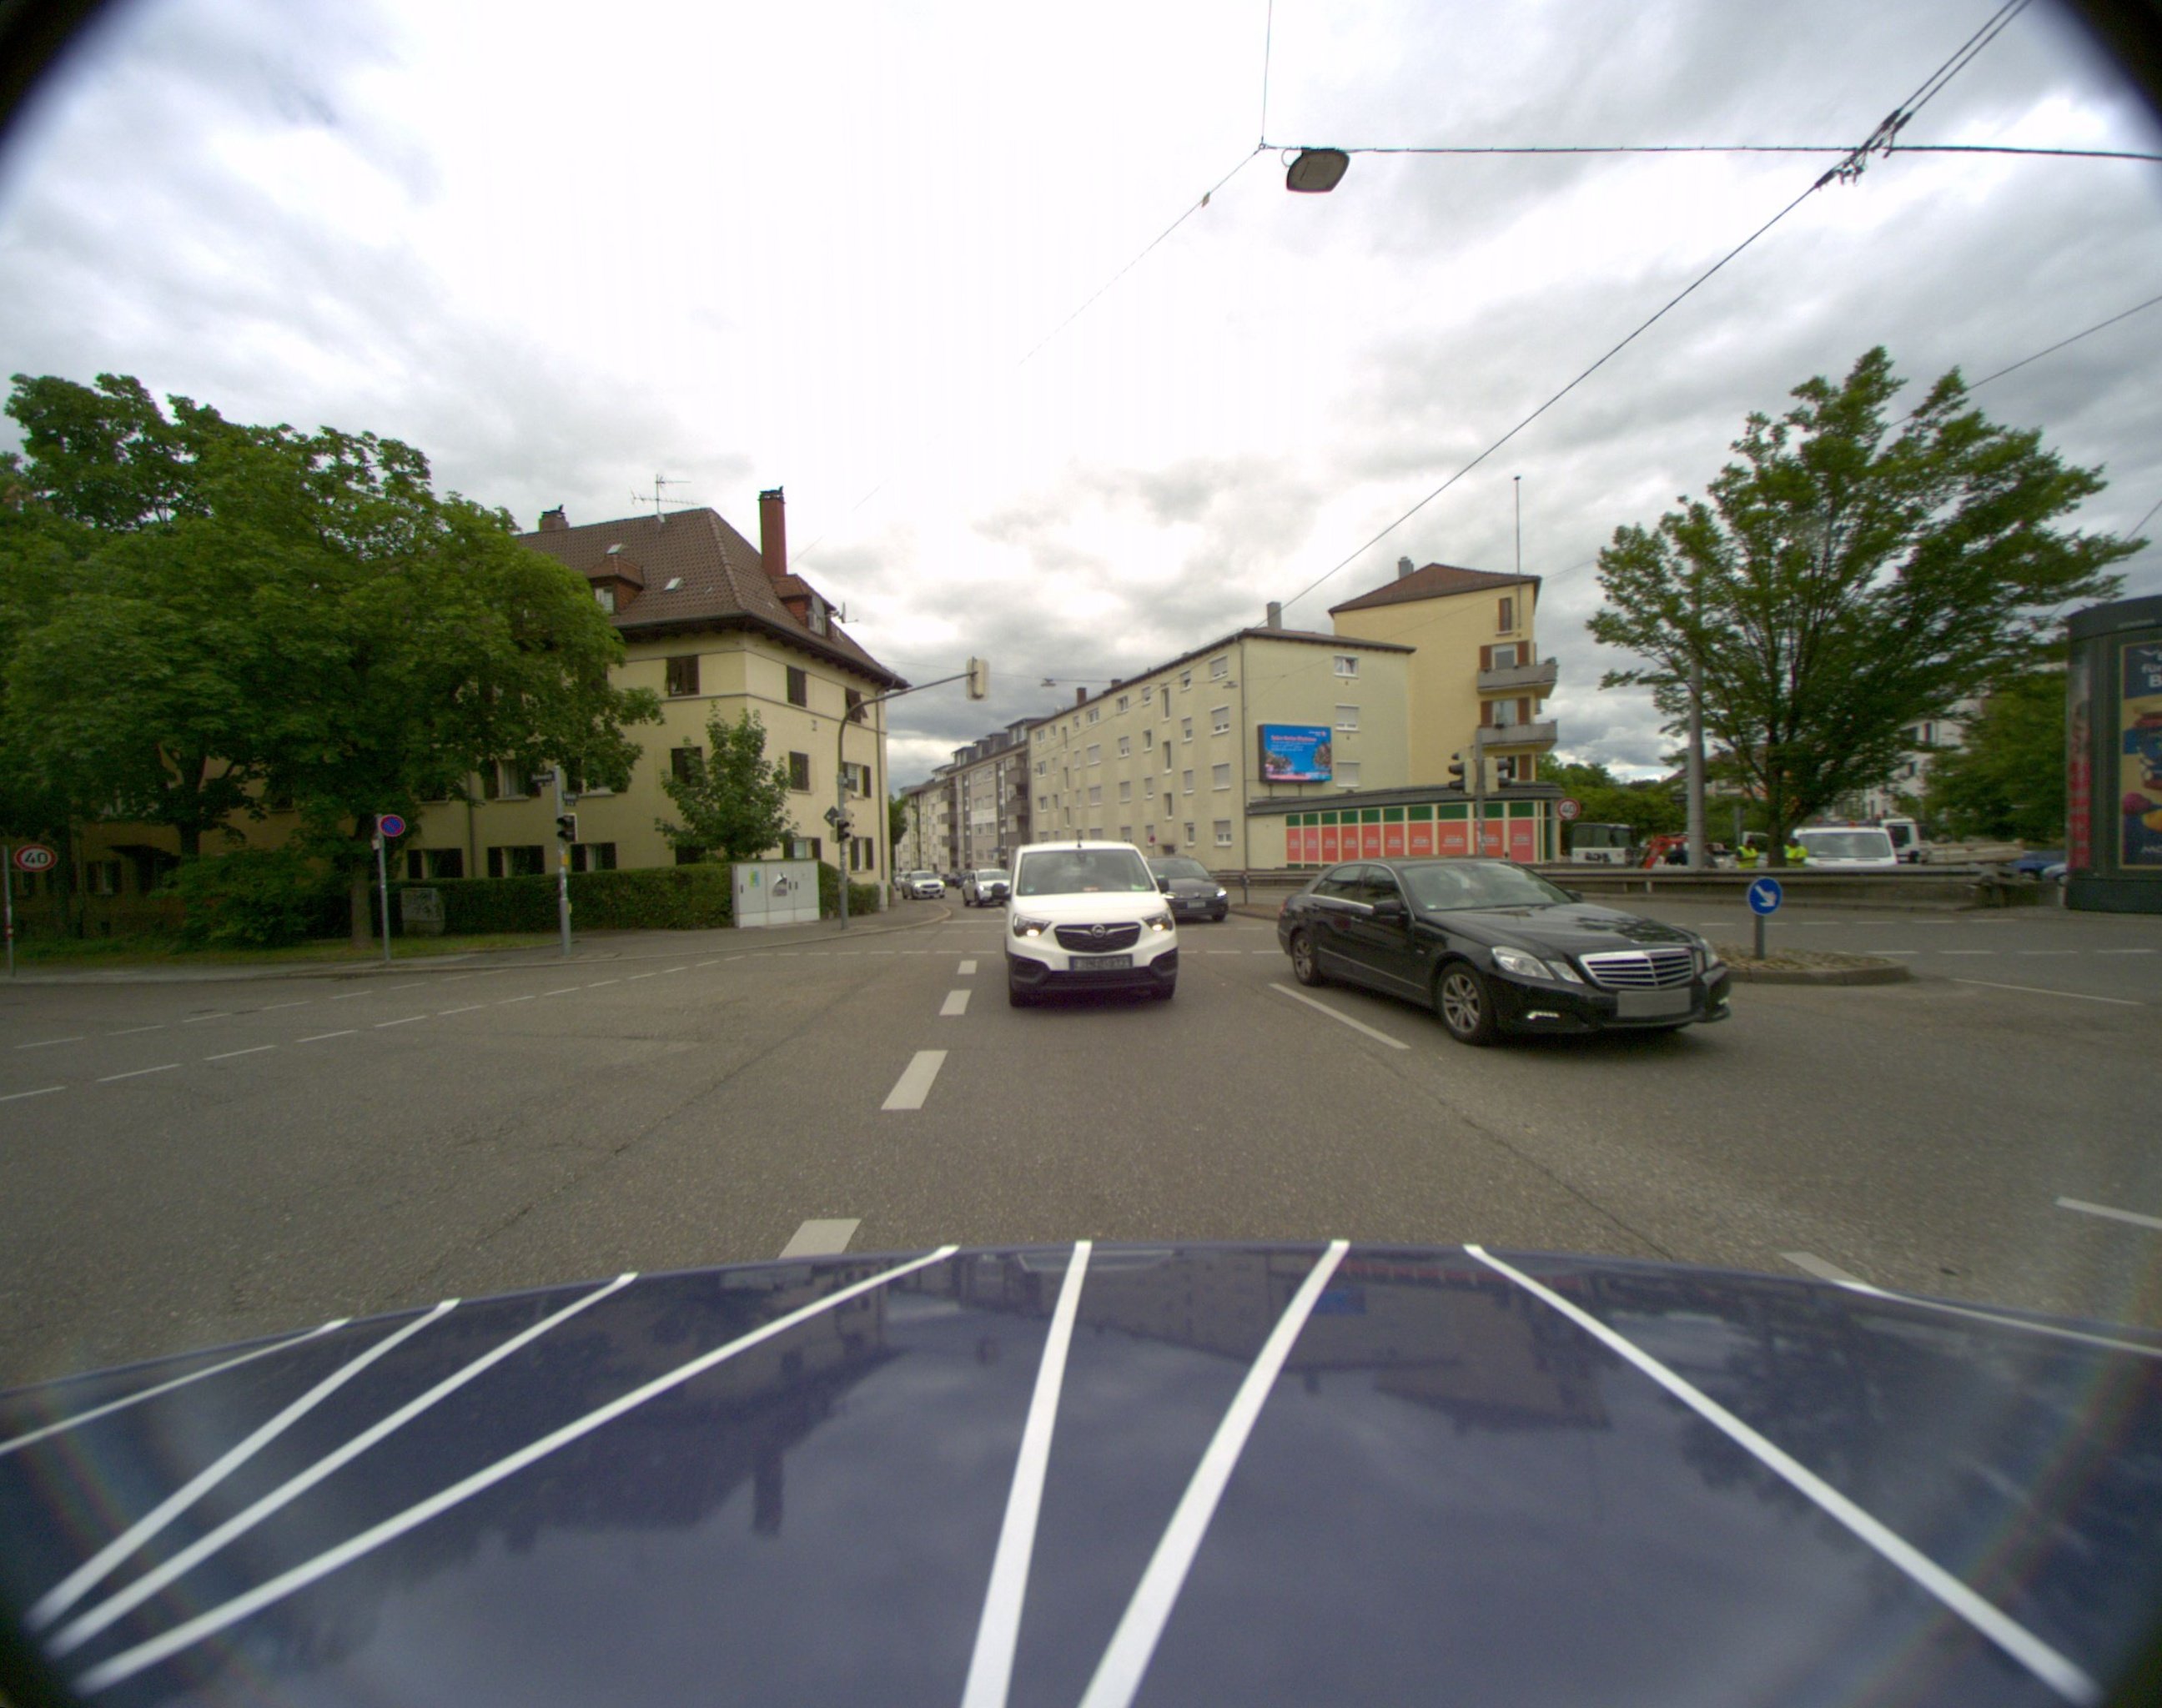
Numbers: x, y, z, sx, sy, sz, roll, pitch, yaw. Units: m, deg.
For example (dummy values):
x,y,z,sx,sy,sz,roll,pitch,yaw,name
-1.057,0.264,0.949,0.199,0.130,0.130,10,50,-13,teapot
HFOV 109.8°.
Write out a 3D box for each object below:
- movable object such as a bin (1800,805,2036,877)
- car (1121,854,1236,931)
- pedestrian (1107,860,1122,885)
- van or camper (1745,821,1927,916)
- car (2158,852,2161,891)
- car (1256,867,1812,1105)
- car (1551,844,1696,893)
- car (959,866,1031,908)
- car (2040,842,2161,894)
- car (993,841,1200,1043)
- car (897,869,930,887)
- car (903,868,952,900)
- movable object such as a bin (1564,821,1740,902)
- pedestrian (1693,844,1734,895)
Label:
x,y,z,sx,sy,sz,roll,pitch,yaw,name
28.125,-0.432,25.615,6.254,2.059,2.394,-2,0,-11,movable object such as a bin
2.319,0.867,19.306,1.863,1.601,4.477,-3,0,-6,car
2.177,1.206,49.736,0.691,1.627,0.777,-2,0,-21,pedestrian
21.311,0.345,21.835,2.681,2.324,6.017,-2,0,35,van or camper
39.952,0.564,25.497,1.793,1.361,4.149,-2,0,-26,car
3.541,0.879,7.326,2.000,1.420,4.839,-2,-1,-8,car
19.128,0.513,27.047,3.990,1.543,2.004,-3,0,30,car
-3.595,1.302,31.053,1.902,1.501,4.161,-3,0,-20,car
42.386,0.567,30.875,2.003,2.001,3.991,-2,-1,-31,car
-0.074,0.816,9.490,1.863,1.771,4.709,-3,0,-6,car
-14.471,2.058,65.369,1.885,1.347,4.138,-4,0,-25,car
-8.981,1.685,44.130,1.902,1.635,3.993,-5,1,-23,car
15.398,0.212,20.657,1.382,2.001,3.528,-2,-1,-32,movable object such as a bin
17.474,0.423,20.999,0.600,1.355,0.626,-3,0,11,pedestrian
